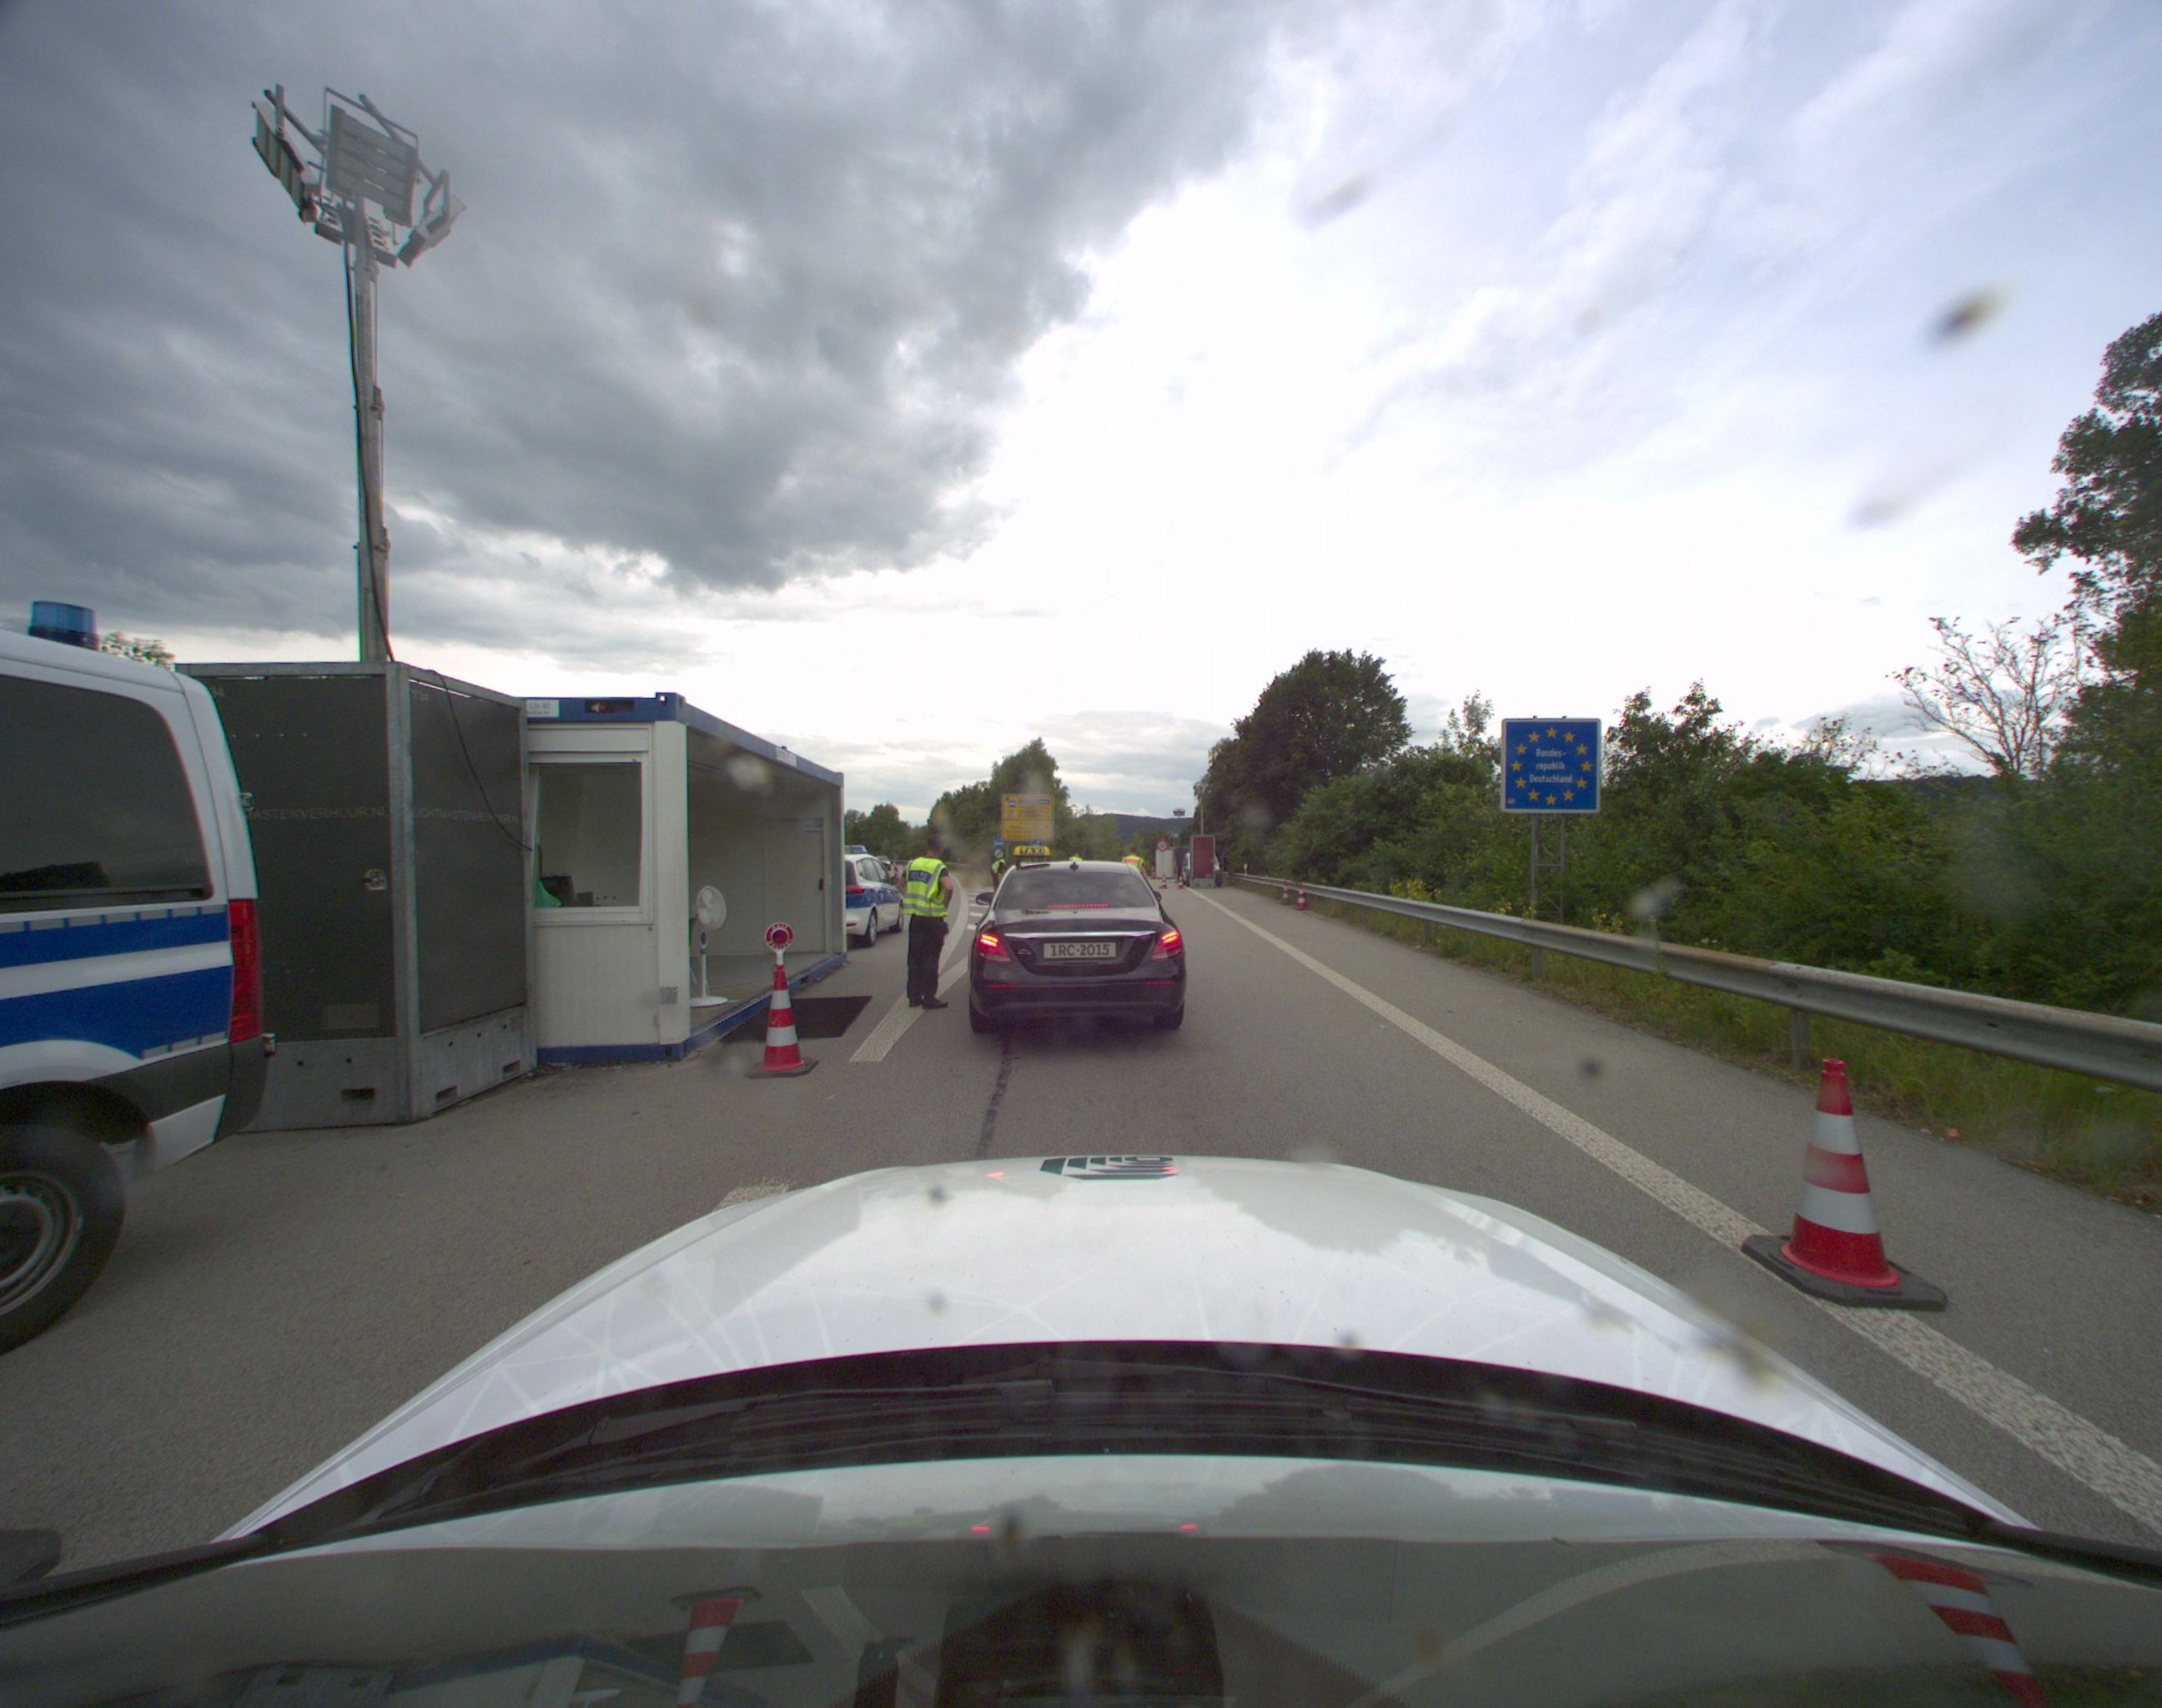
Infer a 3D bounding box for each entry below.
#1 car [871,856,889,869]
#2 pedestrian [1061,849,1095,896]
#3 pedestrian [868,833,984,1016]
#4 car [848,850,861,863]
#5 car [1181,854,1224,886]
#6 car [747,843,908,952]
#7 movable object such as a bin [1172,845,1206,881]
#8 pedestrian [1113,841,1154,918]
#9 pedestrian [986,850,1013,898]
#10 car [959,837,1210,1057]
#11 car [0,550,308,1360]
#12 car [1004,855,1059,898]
[{"bbox_3d":[-23.575,1.011,95.363,1.860,1.498,4.232,-1,0,-17],"label":"car"},{"bbox_3d":[-0.116,0.657,29.540,0.914,1.698,0.905,0,-1,-30],"label":"pedestrian"},{"bbox_3d":[-1.560,0.668,8.224,0.752,1.718,0.823,-2,-1,39],"label":"pedestrian"},{"bbox_3d":[-40.036,0.413,143.918,1.863,2.222,4.225,-1,0,-22],"label":"car"},{"bbox_3d":[6.753,0.870,45.780,1.908,1.678,5.087,1,0,3],"label":"car"},{"bbox_3d":[-4.542,0.713,15.255,1.864,1.743,4.005,-1,0,-2],"label":"car"},{"bbox_3d":[7.193,0.594,54.621,1.984,2.280,4.172,-1,0,4],"label":"movable object such as a bin"},{"bbox_3d":[1.293,0.621,19.919,0.806,1.830,0.813,-1,-1,14],"label":"pedestrian"},{"bbox_3d":[-3.068,0.739,30.836,0.908,1.769,0.911,-1,0,-1],"label":"pedestrian"},{"bbox_3d":[-0.070,0.692,8.251,1.851,1.595,4.371,-1,0,-3],"label":"car"},{"bbox_3d":[-4.263,0.311,0.808,2.023,2.463,5.276,-1,0,-2],"label":"car"},{"bbox_3d":[-1.810,0.815,30.962,1.850,1.498,4.255,-1,0,-1],"label":"car"}]
